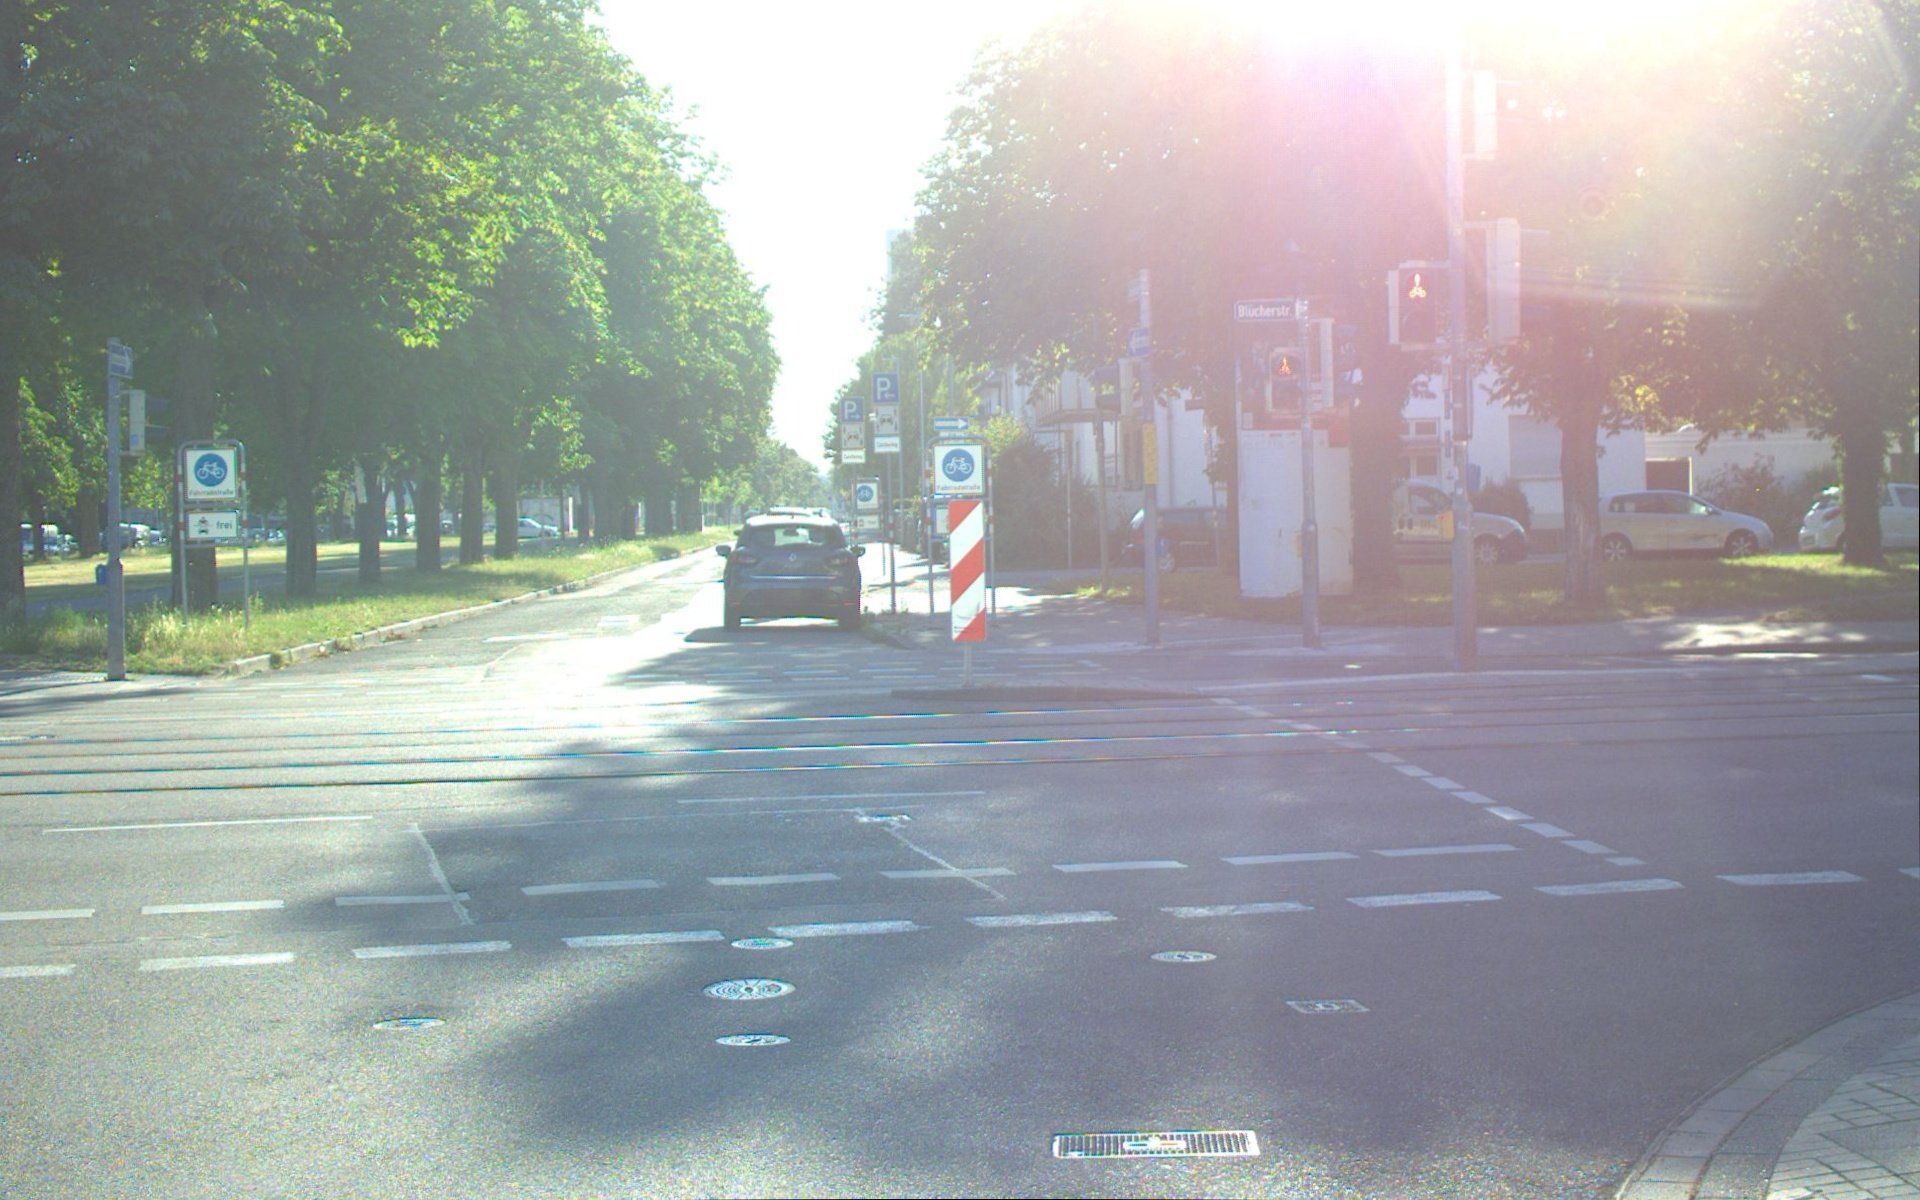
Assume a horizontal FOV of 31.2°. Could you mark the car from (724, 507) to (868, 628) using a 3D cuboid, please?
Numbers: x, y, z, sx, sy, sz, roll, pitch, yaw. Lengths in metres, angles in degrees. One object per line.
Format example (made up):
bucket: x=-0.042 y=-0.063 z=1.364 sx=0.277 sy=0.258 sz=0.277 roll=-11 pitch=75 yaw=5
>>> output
car: x=-2.062 y=-0.441 z=43.867 sx=1.641 sy=1.446 sz=3.307 roll=-1 pitch=2 yaw=0

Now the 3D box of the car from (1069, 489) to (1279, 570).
car: x=4.022 y=-1.345 z=64.968 sx=3.779 sy=1.422 sz=1.744 roll=-1 pitch=3 yaw=-2

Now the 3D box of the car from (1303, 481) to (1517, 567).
car: x=8.528 y=-1.452 z=65.293 sx=3.779 sy=1.520 sz=1.744 roll=-1 pitch=3 yaw=-2

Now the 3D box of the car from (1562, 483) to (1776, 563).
car: x=13.433 y=-1.467 z=65.237 sx=3.662 sy=1.422 sz=1.532 roll=-1 pitch=1 yaw=-6

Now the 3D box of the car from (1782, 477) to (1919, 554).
car: x=17.934 y=-1.642 z=66.007 sx=3.844 sy=1.422 sz=1.598 roll=-1 pitch=1 yaw=-6

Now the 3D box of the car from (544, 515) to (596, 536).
car: x=-27.718 y=-5.287 z=244.483 sx=3.519 sy=1.422 sz=1.603 roll=-1 pitch=1 yaw=-3

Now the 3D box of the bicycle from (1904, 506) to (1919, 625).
bicycle: x=10.085 y=-0.354 z=32.838 sx=1.954 sy=1.128 sz=0.620 roll=-1 pitch=1 yaw=1

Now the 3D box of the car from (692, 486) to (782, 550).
car: x=-5.024 y=-1.869 z=77.794 sx=1.845 sy=1.389 sz=3.829 roll=-1 pitch=2 yaw=-1
